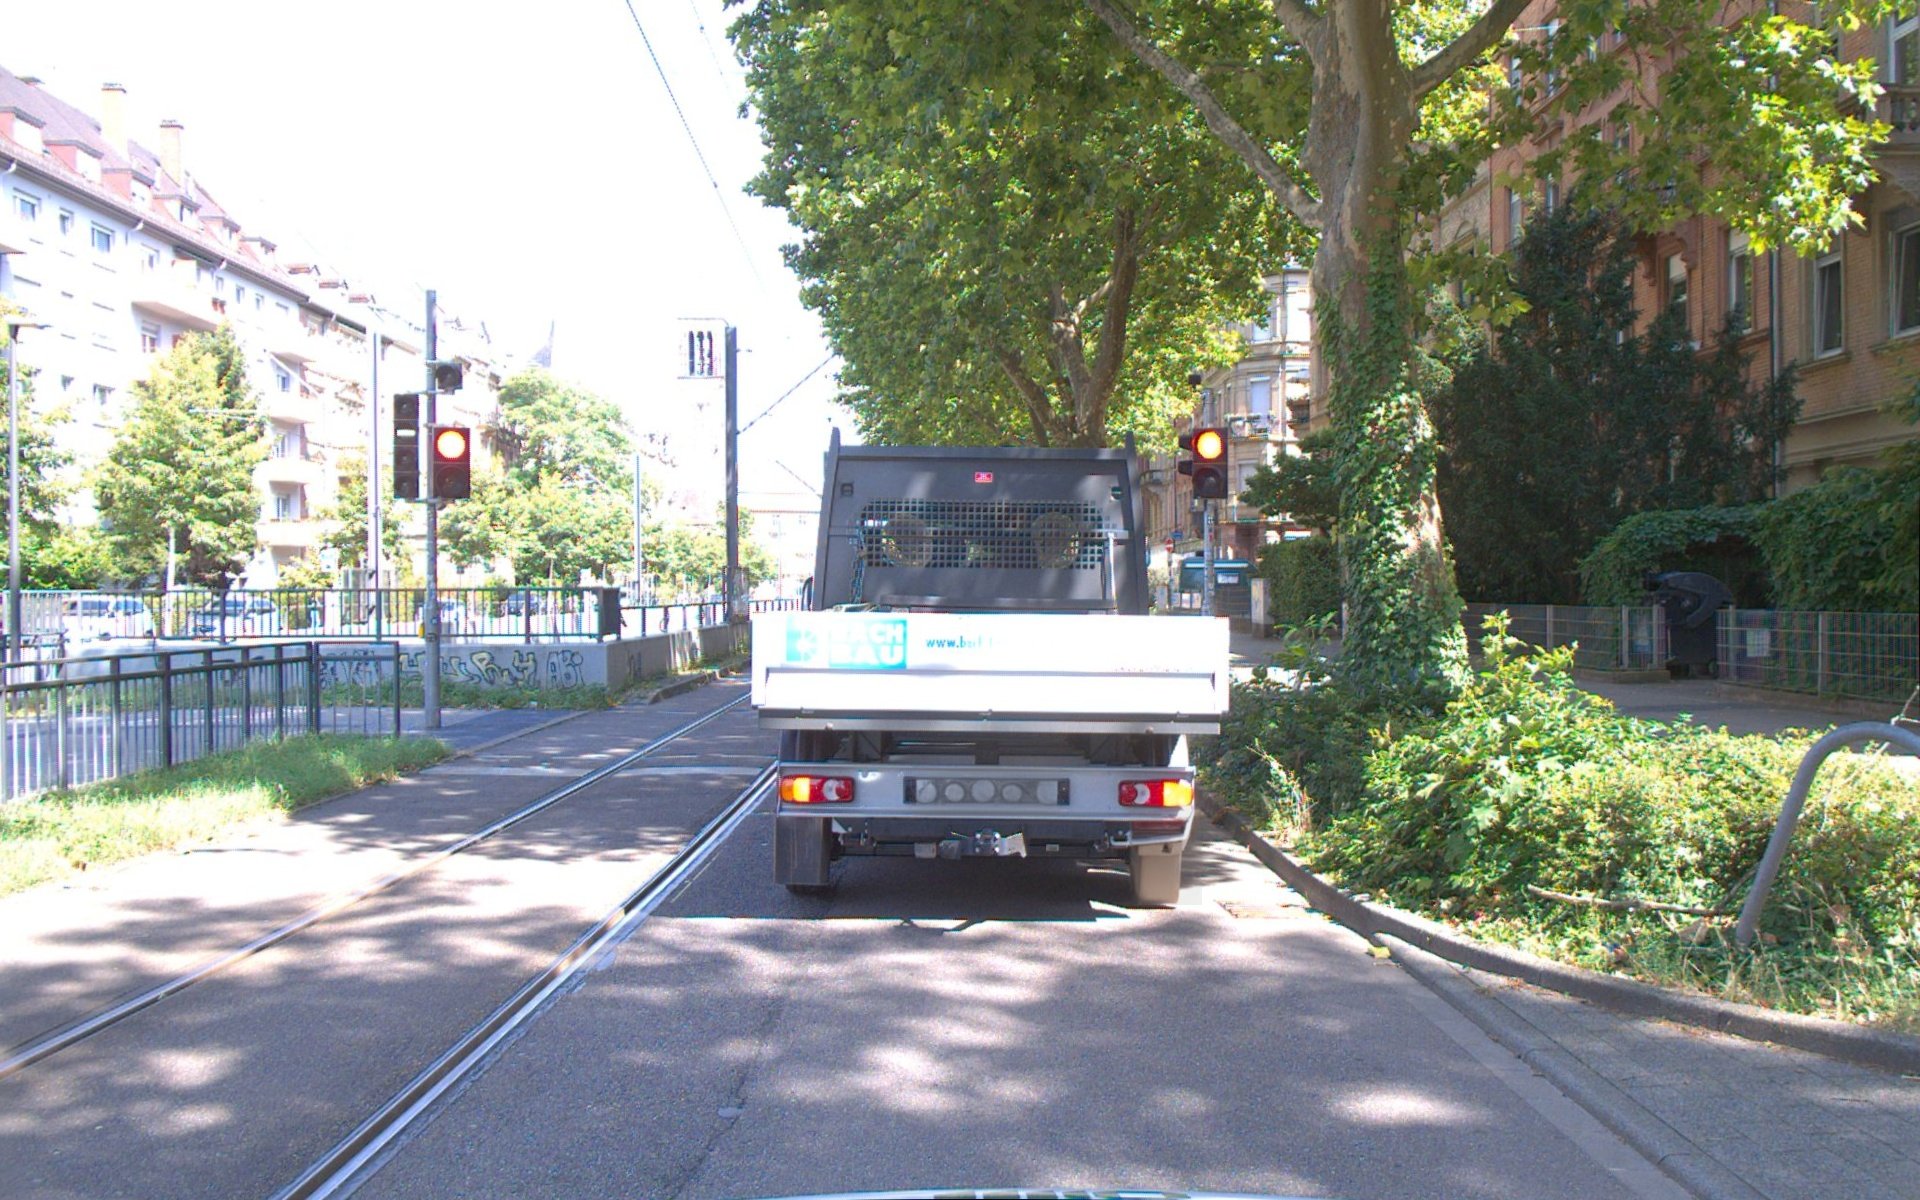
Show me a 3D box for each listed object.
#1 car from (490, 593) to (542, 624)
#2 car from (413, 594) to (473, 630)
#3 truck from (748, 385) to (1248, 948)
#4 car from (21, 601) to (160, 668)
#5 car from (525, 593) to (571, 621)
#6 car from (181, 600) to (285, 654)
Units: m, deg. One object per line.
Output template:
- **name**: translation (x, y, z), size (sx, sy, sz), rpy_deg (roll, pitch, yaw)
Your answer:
- **car**: translation (-22.946, 0.430, 85.545), size (1.735, 1.524, 3.998), rpy_deg (-1, 0, -2)
- **car**: translation (-22.439, 0.497, 71.916), size (1.736, 1.524, 3.994), rpy_deg (-1, 0, -6)
- **truck**: translation (0.164, 0.267, 9.146), size (2.094, 2.359, 4.401), rpy_deg (0, 0, 0)
- **car**: translation (-21.981, 0.833, 41.976), size (1.737, 1.524, 3.994), rpy_deg (-2, 0, -6)
- **car**: translation (-23.231, 0.391, 93.378), size (1.735, 1.524, 3.998), rpy_deg (-1, 0, -2)
- **car**: translation (-22.166, 0.791, 50.553), size (1.737, 1.524, 3.994), rpy_deg (-2, 0, -6)
